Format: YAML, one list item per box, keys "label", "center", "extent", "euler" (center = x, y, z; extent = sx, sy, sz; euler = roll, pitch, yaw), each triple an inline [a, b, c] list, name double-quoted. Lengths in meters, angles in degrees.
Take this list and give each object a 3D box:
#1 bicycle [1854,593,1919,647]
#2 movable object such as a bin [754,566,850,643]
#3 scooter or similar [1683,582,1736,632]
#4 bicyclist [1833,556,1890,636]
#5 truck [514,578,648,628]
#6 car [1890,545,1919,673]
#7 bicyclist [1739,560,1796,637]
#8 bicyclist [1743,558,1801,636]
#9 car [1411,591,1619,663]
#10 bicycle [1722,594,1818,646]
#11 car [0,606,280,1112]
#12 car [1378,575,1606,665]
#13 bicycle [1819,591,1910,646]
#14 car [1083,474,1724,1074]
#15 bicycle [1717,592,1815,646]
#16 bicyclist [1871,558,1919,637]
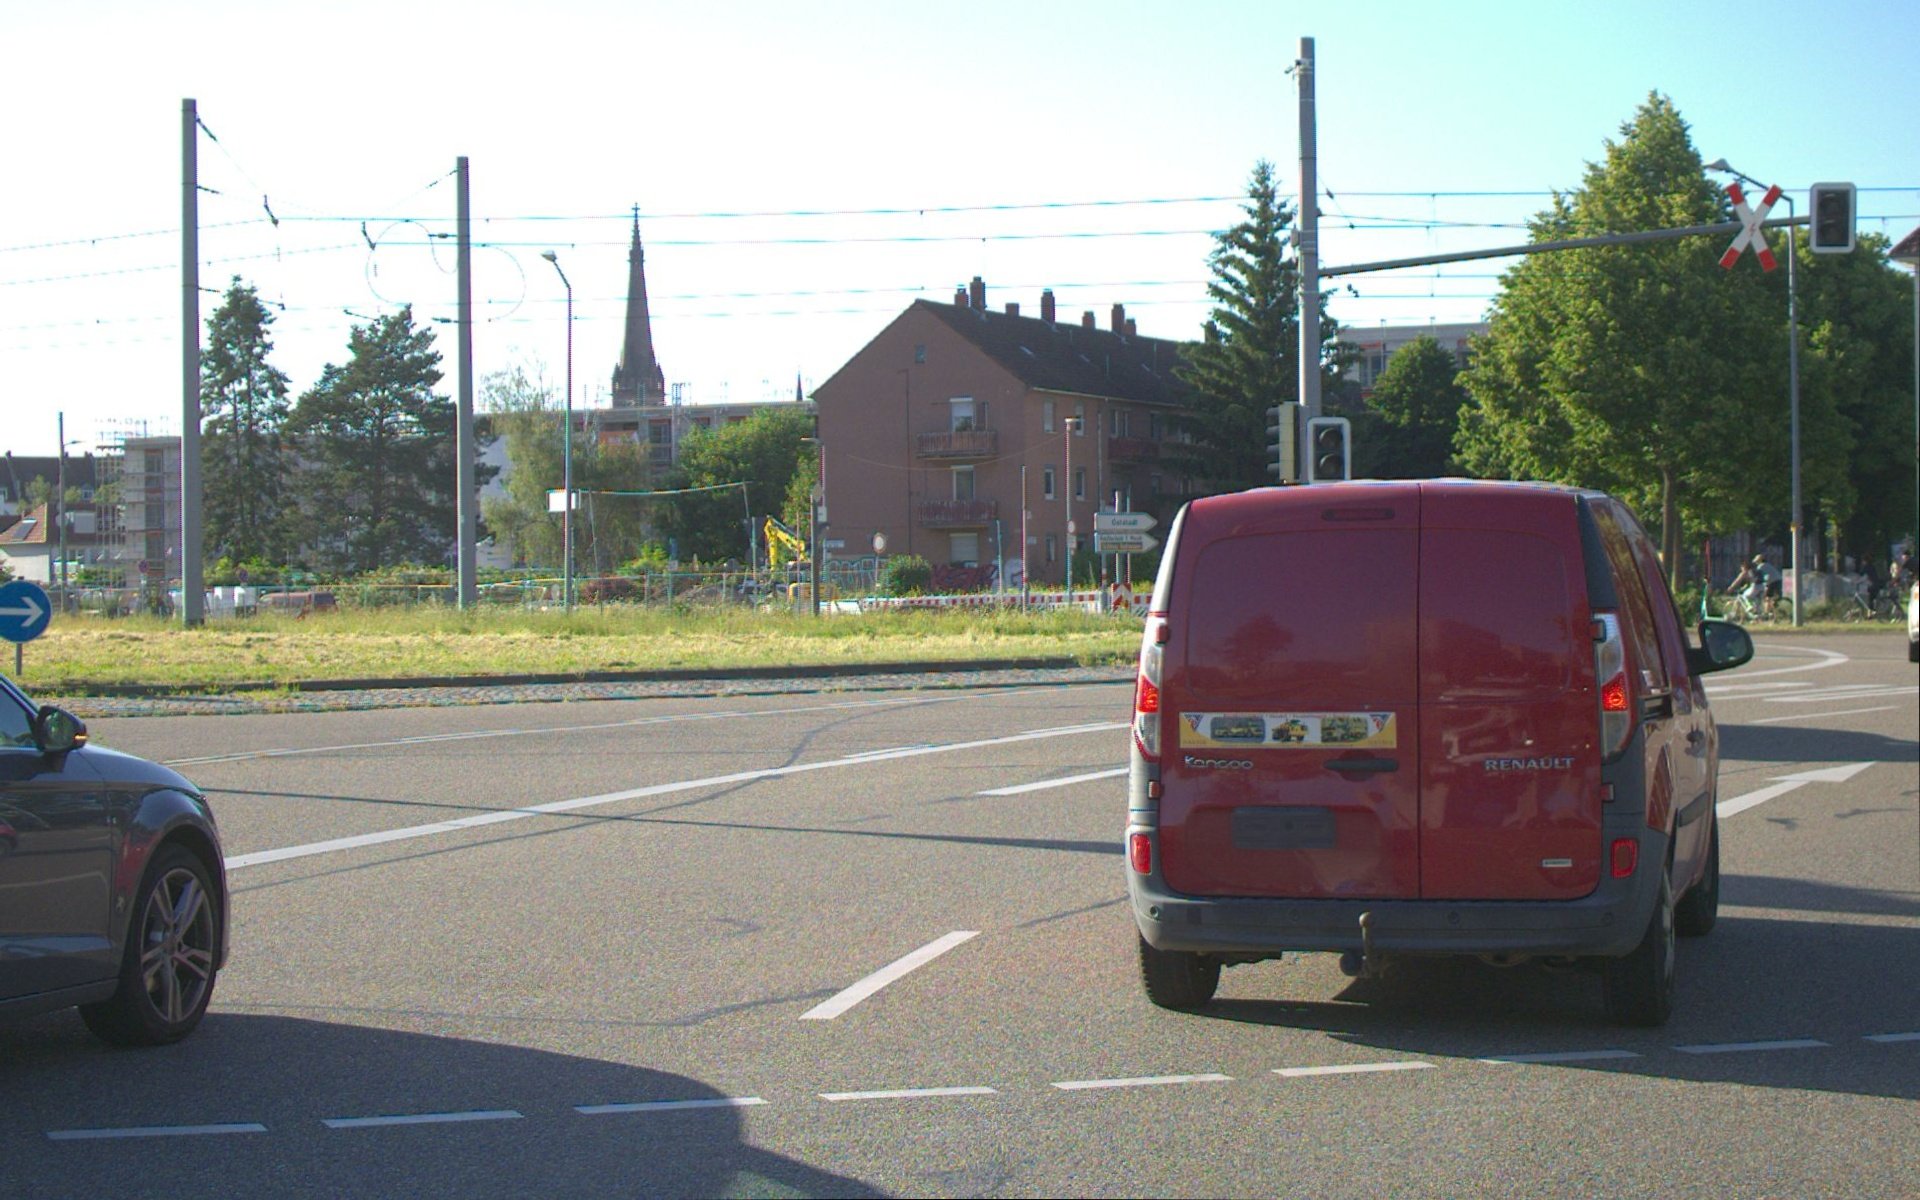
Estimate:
- label: "bicycle"
  center: [22.206, 0.476, 81.297]
  extent: [0.815, 1.261, 2.210]
  euler: [2, -1, -26]
- label: "movable object such as a bin"
  center: [-5.907, 0.198, 128.134]
  extent: [2.418, 2.764, 4.001]
  euler: [1, -1, -20]
- label: "scooter or similar"
  center: [18.900, 0.178, 86.671]
  extent: [0.443, 1.244, 1.264]
  euler: [2, -3, -43]
- label: "bicyclist"
  center: [21.166, -0.079, 80.714]
  extent: [0.809, 1.846, 1.026]
  euler: [2, -1, -26]
- label: "truck"
  center: [-16.023, 0.138, 145.198]
  extent: [2.165, 2.007, 6.432]
  euler: [2, -1, -43]
- label: "car"
  center: [13.017, 0.076, 43.940]
  extent: [1.995, 1.570, 4.404]
  euler: [0, 1, 18]
- label: "bicyclist"
  center: [19.815, -0.038, 84.343]
  extent: [0.882, 1.846, 1.026]
  euler: [2, -1, -38]
- label: "bicyclist"
  center: [19.558, -0.070, 82.808]
  extent: [0.882, 1.846, 1.026]
  euler: [2, -1, -38]
- label: "car"
  center: [12.468, 0.589, 77.490]
  extent: [1.994, 1.534, 4.406]
  euler: [-1, 1, -39]
- label: "bicycle"
  center: [19.849, 0.488, 84.297]
  extent: [0.882, 1.261, 2.209]
  euler: [2, -1, -39]
- label: "car"
  center: [-3.527, 0.701, 9.249]
  extent: [1.761, 1.375, 4.356]
  euler: [0, 0, 12]
- label: "car"
  center: [10.166, 0.355, 65.997]
  extent: [1.993, 1.633, 4.408]
  euler: [-1, 1, -30]
- label: "bicycle"
  center: [21.198, 0.446, 80.614]
  extent: [0.815, 1.261, 2.210]
  euler: [2, -1, -26]
- label: "car"
  center: [1.760, 0.508, 12.492]
  extent: [1.804, 1.807, 3.807]
  euler: [1, 1, 15]
- label: "bicycle"
  center: [19.440, 0.456, 82.919]
  extent: [0.882, 1.261, 2.209]
  euler: [2, -1, -39]
- label: "bicyclist"
  center: [22.215, -0.050, 81.305]
  extent: [0.809, 1.846, 1.026]
  euler: [2, -1, -26]
